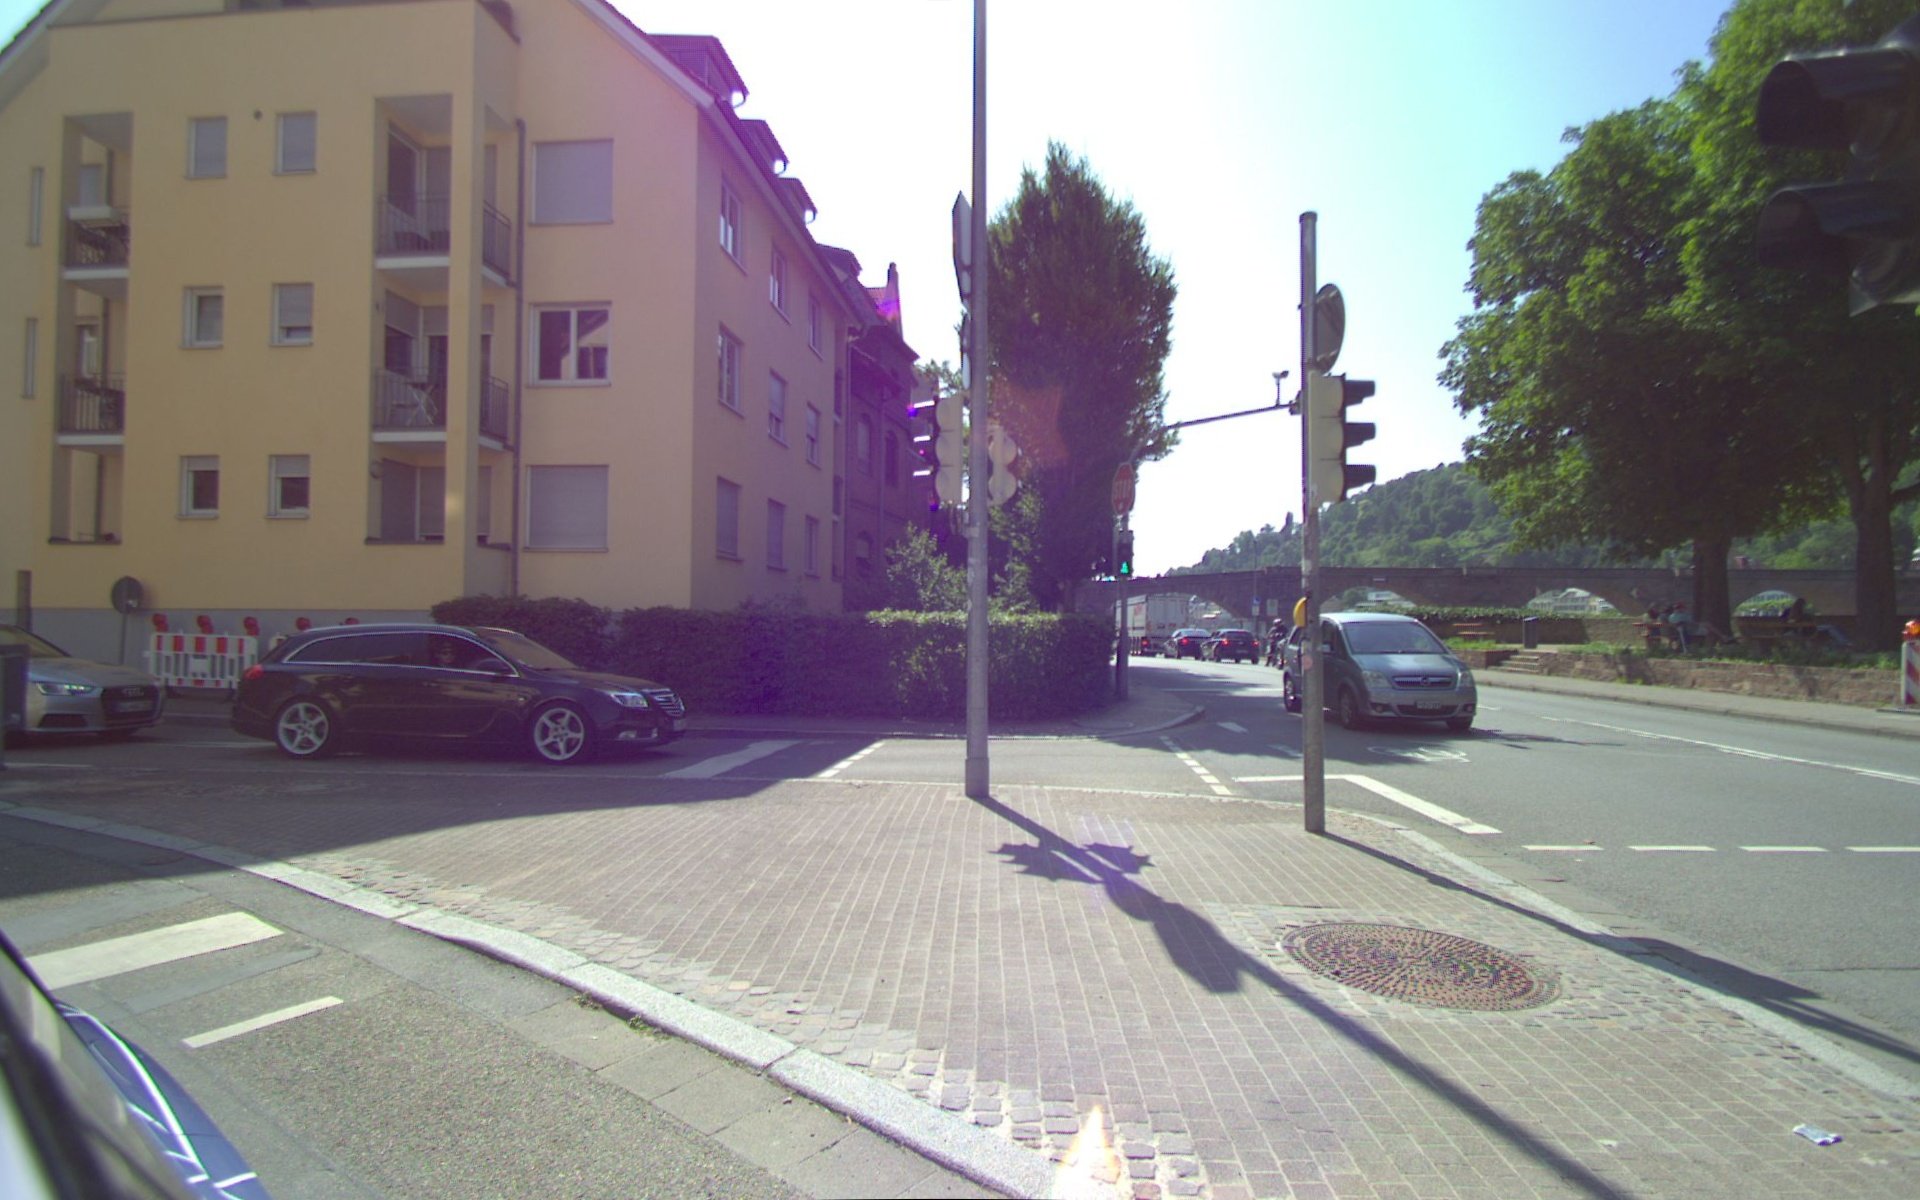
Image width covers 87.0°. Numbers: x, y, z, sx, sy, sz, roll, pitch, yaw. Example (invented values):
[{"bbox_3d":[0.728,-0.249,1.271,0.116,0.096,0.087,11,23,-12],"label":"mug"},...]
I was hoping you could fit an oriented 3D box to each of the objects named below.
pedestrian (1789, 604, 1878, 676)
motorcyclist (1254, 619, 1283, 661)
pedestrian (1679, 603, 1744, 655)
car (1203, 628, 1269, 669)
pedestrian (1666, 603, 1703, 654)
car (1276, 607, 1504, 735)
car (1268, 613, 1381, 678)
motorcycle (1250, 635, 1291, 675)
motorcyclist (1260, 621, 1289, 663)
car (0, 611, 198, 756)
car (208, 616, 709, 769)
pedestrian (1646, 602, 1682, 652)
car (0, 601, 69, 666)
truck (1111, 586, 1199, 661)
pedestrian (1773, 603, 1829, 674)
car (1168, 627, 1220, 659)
[{"bbox_3d":[18.474,0.841,21.426,1.368,1.490,0.467,1,-2,7],"label":"pedestrian"},{"bbox_3d":[11.501,1.473,37.791,0.807,1.506,0.874,0,1,0],"label":"motorcyclist"},{"bbox_3d":[18.727,0.715,25.223,1.209,1.280,0.467,1,-2,7],"label":"pedestrian"},{"bbox_3d":[11.579,1.996,42.685,1.974,1.608,3.994,0,-2,4],"label":"car"},{"bbox_3d":[18.468,0.713,25.804,0.624,1.280,0.467,1,-2,7],"label":"pedestrian"},{"bbox_3d":[6.108,0.960,14.875,1.669,1.623,3.739,-1,-1,-1],"label":"car"},{"bbox_3d":[11.229,1.342,31.541,1.818,1.766,4.409,3,-1,0],"label":"car"},{"bbox_3d":[11.483,2.012,37.518,0.753,1.387,2.471,1,-2,0],"label":"motorcycle"},{"bbox_3d":[11.490,1.547,37.001,0.807,1.504,0.773,1,-2,0],"label":"motorcyclist"},{"bbox_3d":[-11.588,0.875,11.603,4.324,1.504,1.876,1,-2,2],"label":"car"},{"bbox_3d":[-5.330,0.985,11.153,4.661,1.473,1.718,1,-4,2],"label":"car"},{"bbox_3d":[18.555,0.713,26.685,0.624,1.280,0.467,1,-2,7],"label":"pedestrian"},{"bbox_3d":[-24.114,0.808,24.275,1.829,1.556,3.994,0,-1,5],"label":"car"},{"bbox_3d":[12.037,1.522,63.988,3.169,4.246,12.762,1,-2,0],"label":"truck"},{"bbox_3d":[18.277,0.832,21.998,0.795,1.504,0.467,1,-2,7],"label":"pedestrian"},{"bbox_3d":[11.627,2.132,50.501,1.900,1.519,3.994,0,-2,4],"label":"car"}]
